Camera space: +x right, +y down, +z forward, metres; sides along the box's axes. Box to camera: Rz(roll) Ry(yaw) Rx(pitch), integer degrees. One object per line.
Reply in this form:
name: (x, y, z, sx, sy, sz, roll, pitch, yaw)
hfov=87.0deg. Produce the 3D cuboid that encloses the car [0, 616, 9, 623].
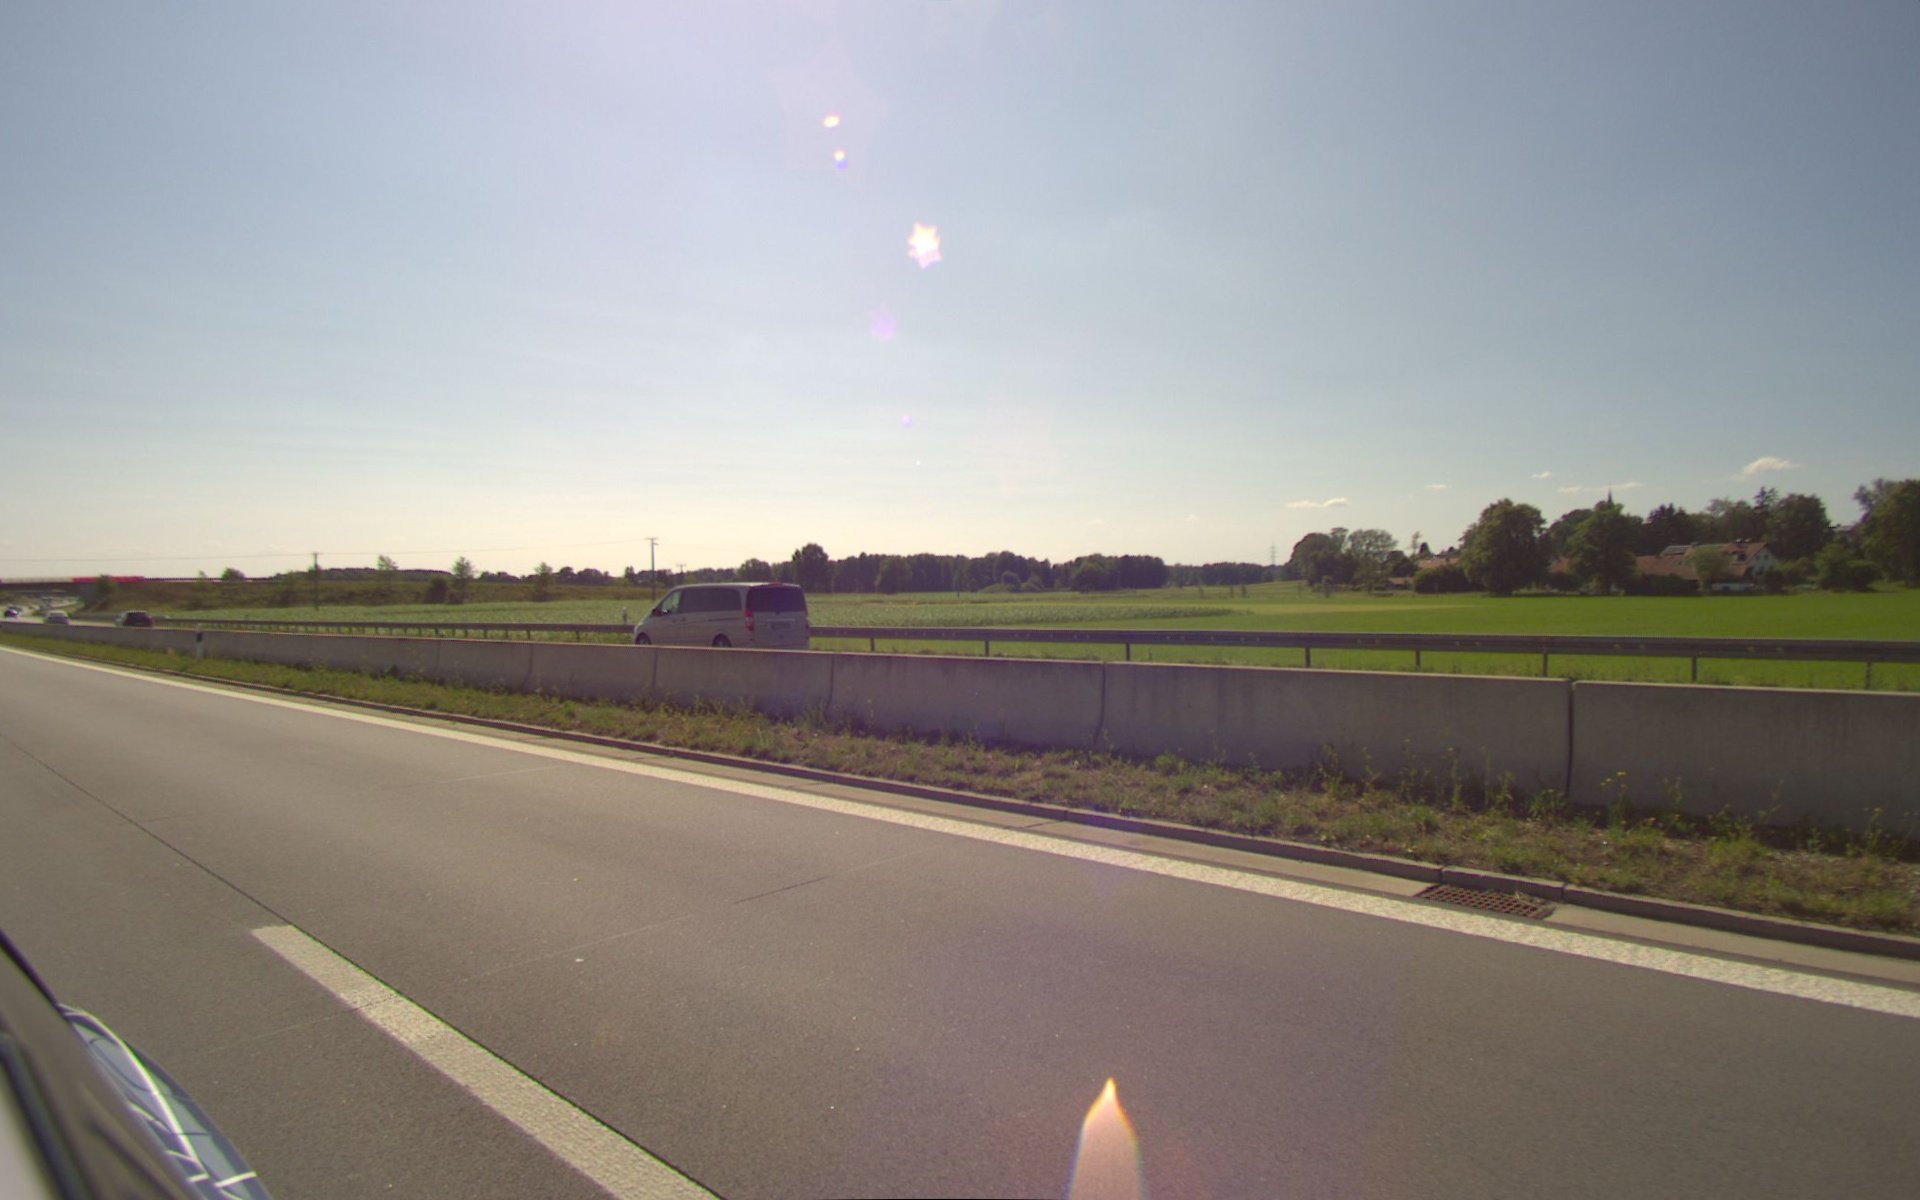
car: (-171.394, 3.494, 180.901, 4.664, 1.375, 1.802, -1, -1, 44)

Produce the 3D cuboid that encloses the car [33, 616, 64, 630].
car: (-91.968, 2.337, 102.070, 5.293, 1.375, 1.803, -1, -1, 42)

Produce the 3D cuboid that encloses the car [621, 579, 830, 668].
car: (-5.588, 0.535, 23.680, 5.446, 1.856, 1.934, -1, -1, 41)

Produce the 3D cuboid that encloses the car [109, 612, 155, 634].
car: (-60.607, 1.680, 74.036, 4.912, 1.597, 1.839, -1, -1, 41)
